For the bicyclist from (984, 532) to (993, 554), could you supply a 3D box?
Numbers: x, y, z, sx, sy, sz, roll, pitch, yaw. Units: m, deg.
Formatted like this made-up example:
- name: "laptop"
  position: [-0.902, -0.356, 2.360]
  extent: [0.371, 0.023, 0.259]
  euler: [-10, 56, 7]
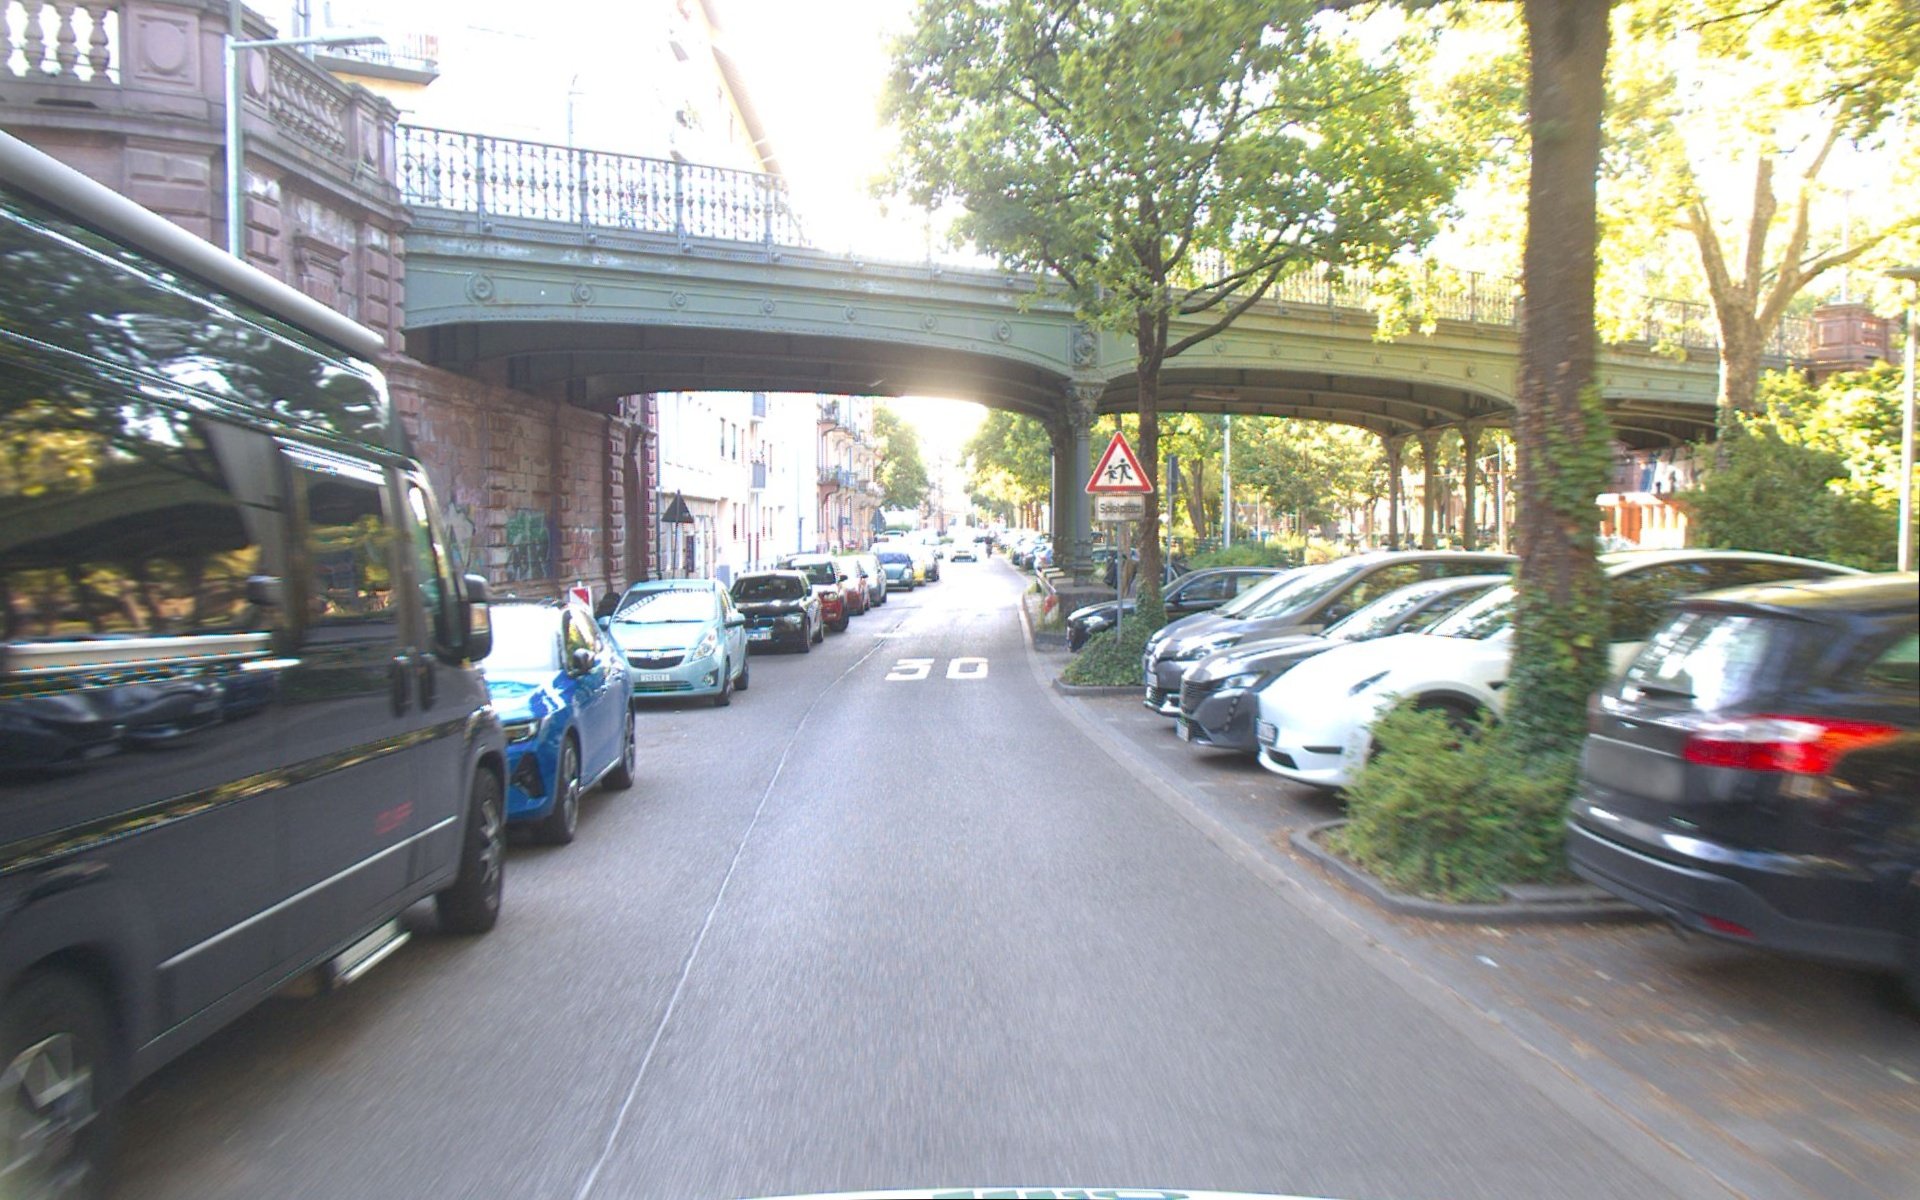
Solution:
- name: "bicyclist"
  position: [2.140, -4.256, 122.668]
  extent: [0.615, 1.600, 0.802]
  euler: [1, 0, -1]

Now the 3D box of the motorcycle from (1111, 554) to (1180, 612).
- name: "motorcycle"
  position: [4.679, -0.427, 41.702]
  extent: [1.567, 1.433, 0.712]
  euler: [1, 1, 20]

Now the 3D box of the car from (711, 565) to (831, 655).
- name: "car"
  position: [-3.487, 0.132, 31.117]
  extent: [1.681, 1.489, 4.001]
  euler: [-1, 2, 1]

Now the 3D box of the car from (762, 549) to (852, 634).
- name: "car"
  position: [-3.369, -0.246, 37.020]
  extent: [1.682, 1.737, 4.322]
  euler: [-1, 2, -1]

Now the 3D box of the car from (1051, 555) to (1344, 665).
- name: "car"
  position: [3.634, 0.147, 25.771]
  extent: [4.286, 1.605, 1.674]
  euler: [1, 1, -2]

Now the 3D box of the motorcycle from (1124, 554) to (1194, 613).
- name: "motorcycle"
  position: [4.878, -0.409, 40.581]
  extent: [1.567, 1.433, 0.712]
  euler: [1, 1, 20]

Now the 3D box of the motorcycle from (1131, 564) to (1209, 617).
- name: "motorcycle"
  position: [4.656, -0.217, 36.660]
  extent: [1.574, 1.152, 0.709]
  euler: [1, 1, -17]

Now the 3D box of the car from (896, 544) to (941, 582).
- name: "car"
  position: [-1.753, -1.628, 71.497]
  extent: [1.703, 1.505, 4.002]
  euler: [-1, 2, 2]

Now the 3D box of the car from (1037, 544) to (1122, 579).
- name: "car"
  position: [5.322, -1.718, 73.613]
  extent: [3.702, 1.472, 1.665]
  euler: [-1, 1, 6]

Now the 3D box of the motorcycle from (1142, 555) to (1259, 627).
- name: "motorcycle"
  position: [4.309, -0.161, 29.638]
  extent: [1.905, 1.259, 0.897]
  euler: [0, 1, -25]

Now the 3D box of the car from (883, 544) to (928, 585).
- name: "car"
  position: [-2.183, -1.451, 66.631]
  extent: [1.668, 1.551, 3.774]
  euler: [-1, 2, 0]

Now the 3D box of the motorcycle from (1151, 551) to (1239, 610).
- name: "motorcycle"
  position: [4.703, -0.387, 33.025]
  extent: [1.705, 1.152, 0.704]
  euler: [0, 1, -34]

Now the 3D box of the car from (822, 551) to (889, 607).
- name: "car"
  position: [-3.092, -0.652, 49.477]
  extent: [1.603, 1.492, 4.001]
  euler: [-3, 2, 1]

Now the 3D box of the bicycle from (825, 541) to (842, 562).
- name: "bicycle"
  position: [-7.661, -2.934, 100.275]
  extent: [0.721, 1.227, 2.515]
  euler: [1, 3, 1]

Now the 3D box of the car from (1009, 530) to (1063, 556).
- name: "car"
  position: [5.893, -4.445, 129.371]
  extent: [4.133, 1.896, 1.762]
  euler: [-2, 2, 1]

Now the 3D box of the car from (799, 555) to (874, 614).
- name: "car"
  position: [-3.278, -0.454, 44.560]
  extent: [1.654, 1.466, 4.001]
  euler: [-1, 2, 1]

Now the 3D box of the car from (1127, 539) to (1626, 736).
- name: "car"
  position: [3.895, 0.335, 15.941]
  extent: [4.288, 1.738, 1.906]
  euler: [1, 1, -4]

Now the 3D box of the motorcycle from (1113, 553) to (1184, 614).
- name: "motorcycle"
  position: [4.523, -0.401, 39.671]
  extent: [1.567, 1.433, 0.712]
  euler: [1, 1, 20]

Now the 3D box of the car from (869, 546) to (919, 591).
- name: "car"
  position: [-2.419, -1.182, 61.121]
  extent: [1.534, 1.543, 3.784]
  euler: [-1, 2, 2]

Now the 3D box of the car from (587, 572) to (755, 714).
- name: "car"
  position: [-3.596, 0.468, 21.192]
  extent: [1.563, 1.574, 3.914]
  euler: [-2, 2, -2]

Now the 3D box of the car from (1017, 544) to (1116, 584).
- name: "car"
  position: [4.060, -1.366, 63.459]
  extent: [3.704, 1.426, 1.828]
  euler: [-1, 1, 1]

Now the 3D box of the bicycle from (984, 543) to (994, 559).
- name: "bicycle"
  position: [2.148, -3.620, 122.667]
  extent: [0.628, 1.119, 1.944]
  euler: [1, 1, -1]

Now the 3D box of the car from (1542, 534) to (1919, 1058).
- name: "car"
  position: [4.335, 0.613, 5.909]
  extent: [3.939, 1.601, 1.587]
  euler: [1, 1, -2]

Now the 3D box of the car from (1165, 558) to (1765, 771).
- name: "car"
  position: [3.939, 0.475, 13.431]
  extent: [4.286, 1.559, 1.876]
  euler: [1, 1, -2]

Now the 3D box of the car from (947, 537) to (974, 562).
- name: "car"
  position: [0.053, -3.408, 111.247]
  extent: [1.634, 1.455, 4.002]
  euler: [-3, 4, 1]

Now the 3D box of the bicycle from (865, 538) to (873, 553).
- name: "bicycle"
  position: [-7.752, -4.651, 141.355]
  extent: [0.691, 1.167, 1.889]
  euler: [1, 1, -3]

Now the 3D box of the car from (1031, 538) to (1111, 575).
- name: "car"
  position: [5.310, -2.076, 79.202]
  extent: [3.704, 1.675, 1.665]
  euler: [-1, 1, 1]

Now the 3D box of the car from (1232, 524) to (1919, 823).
- name: "car"
  position: [4.166, 0.433, 10.752]
  extent: [4.440, 1.725, 1.907]
  euler: [1, 1, -2]

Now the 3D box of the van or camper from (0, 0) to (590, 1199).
- name: "van or camper"
  position: [-2.872, 0.129, 5.308]
  extent: [2.191, 2.567, 6.418]
  euler: [1, 1, -3]

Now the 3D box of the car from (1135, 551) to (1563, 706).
- name: "car"
  position: [4.263, 0.301, 18.679]
  extent: [4.490, 1.634, 1.735]
  euler: [0, 1, 4]

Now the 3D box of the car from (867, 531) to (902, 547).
- name: "car"
  position: [-8.755, -7.133, 193.037]
  extent: [3.904, 1.735, 2.000]
  euler: [1, 1, 1]

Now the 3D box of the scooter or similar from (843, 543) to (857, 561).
- name: "scooter or similar"
  position: [-7.848, -3.446, 118.290]
  extent: [0.767, 1.243, 2.704]
  euler: [1, 1, 0]

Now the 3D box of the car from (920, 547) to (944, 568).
- name: "car"
  position: [-2.014, -3.125, 120.550]
  extent: [1.472, 1.459, 2.755]
  euler: [-1, 2, 5]

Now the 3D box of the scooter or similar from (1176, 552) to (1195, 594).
- name: "scooter or similar"
  position: [7.209, -0.865, 52.944]
  extent: [0.467, 1.321, 1.326]
  euler: [1, 1, 3]

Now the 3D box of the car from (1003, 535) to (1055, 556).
- name: "car"
  position: [5.608, -4.423, 133.715]
  extent: [4.131, 1.478, 1.650]
  euler: [-2, 2, 4]

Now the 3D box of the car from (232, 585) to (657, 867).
- name: "car"
  position: [-3.194, 0.672, 11.168]
  extent: [1.710, 1.492, 4.373]
  euler: [1, 1, -3]

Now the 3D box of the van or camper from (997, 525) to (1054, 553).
- name: "van or camper"
  position: [5.753, -5.390, 146.337]
  extent: [4.881, 2.418, 2.184]
  euler: [1, 1, -2]

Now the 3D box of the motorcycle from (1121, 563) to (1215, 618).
- name: "motorcycle"
  position: [4.448, -0.202, 35.379]
  extent: [1.807, 1.152, 0.845]
  euler: [0, 1, -23]
